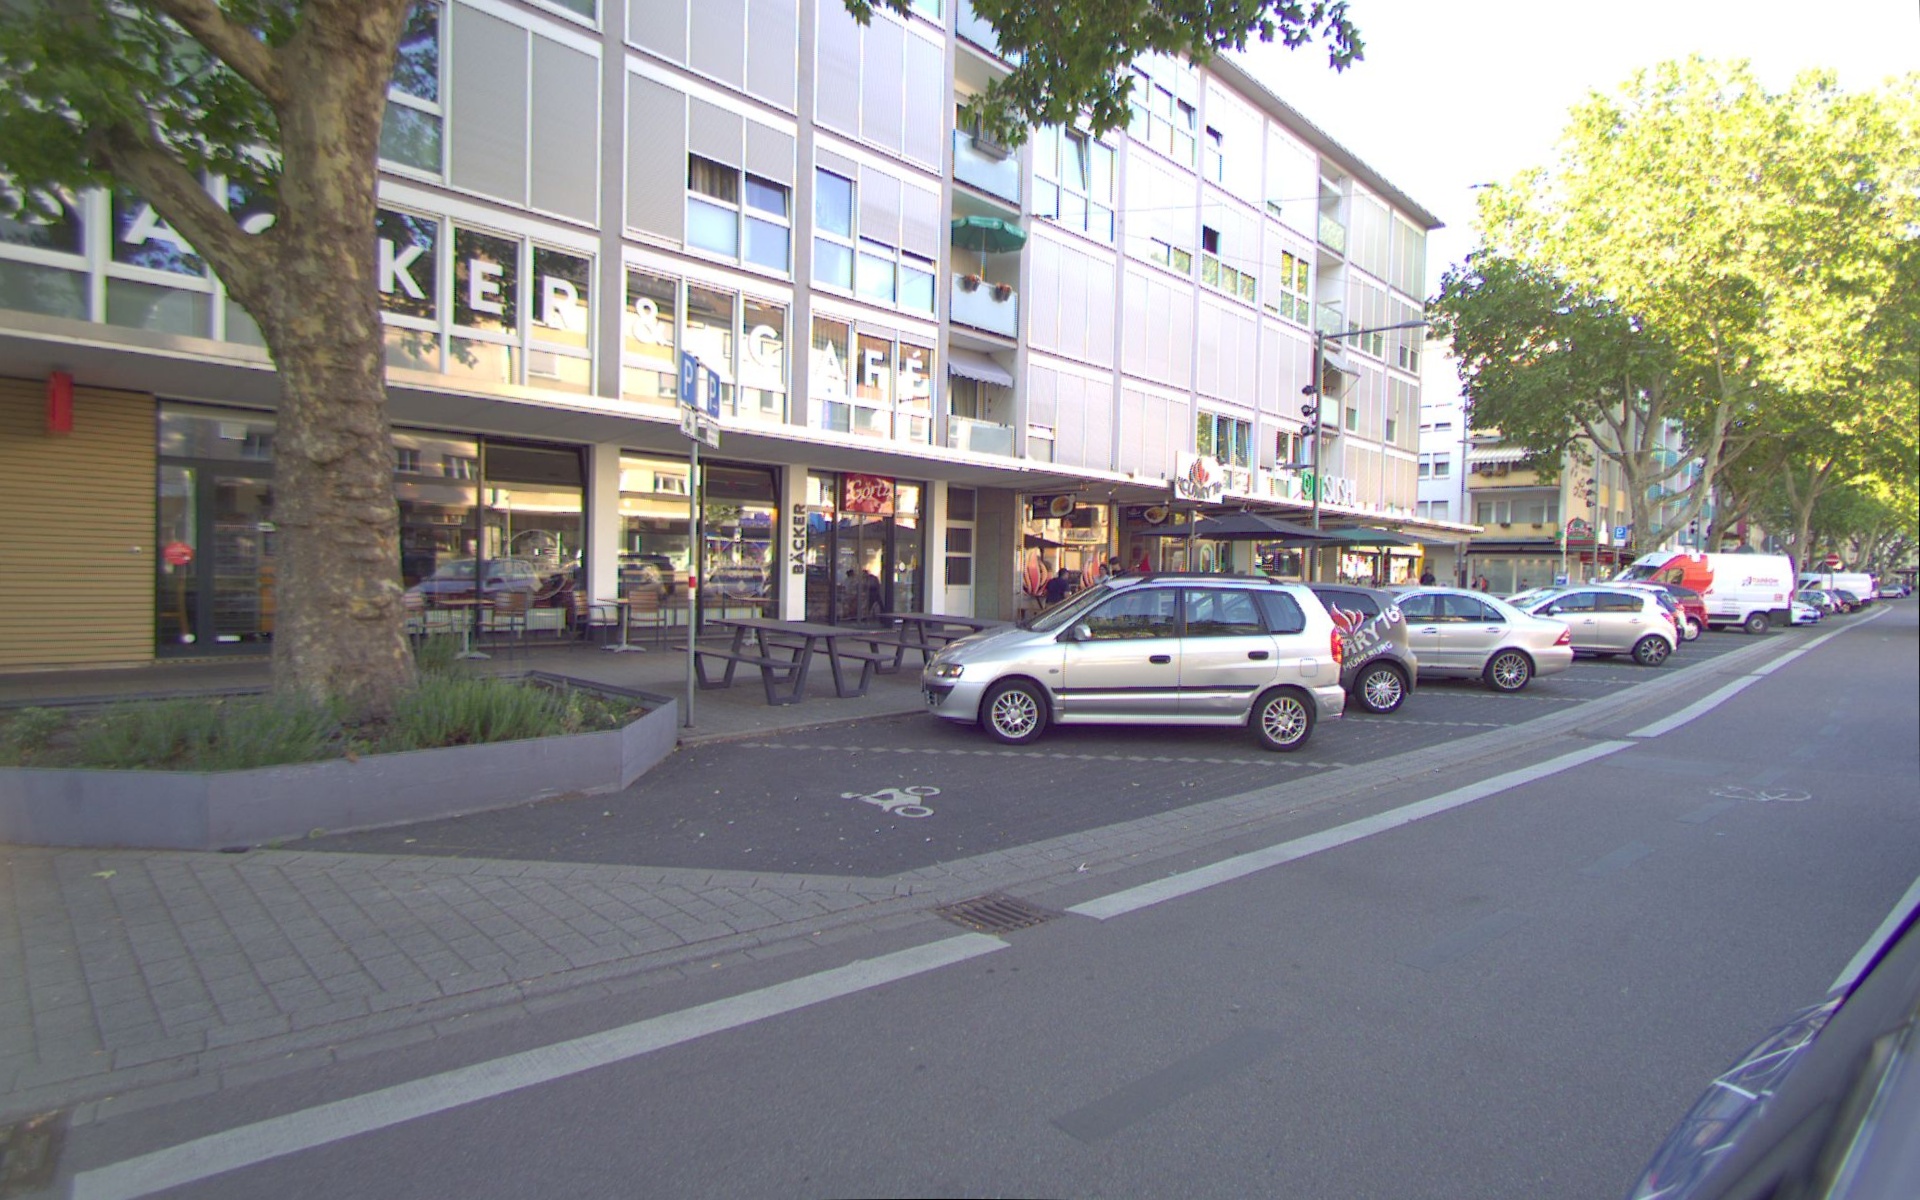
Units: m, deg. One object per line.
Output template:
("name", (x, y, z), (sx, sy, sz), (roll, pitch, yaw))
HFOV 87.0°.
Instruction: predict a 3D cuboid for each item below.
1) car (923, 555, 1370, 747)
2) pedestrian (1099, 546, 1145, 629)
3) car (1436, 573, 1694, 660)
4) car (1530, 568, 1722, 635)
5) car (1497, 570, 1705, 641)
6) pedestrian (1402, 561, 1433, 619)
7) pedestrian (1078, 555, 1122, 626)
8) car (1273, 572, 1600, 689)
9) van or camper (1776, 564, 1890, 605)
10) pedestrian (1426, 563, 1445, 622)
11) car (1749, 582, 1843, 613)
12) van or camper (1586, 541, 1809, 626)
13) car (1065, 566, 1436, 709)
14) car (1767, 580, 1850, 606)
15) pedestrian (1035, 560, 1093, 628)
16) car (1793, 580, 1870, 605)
("car", (1.637, 0.428, 9.892), (3.921, 1.626, 1.811), (1, 2, -3))
("pedestrian", (3.262, -0.254, 20.382), (0.537, 1.610, 0.676), (5, 4, 44))
("car", (11.746, 0.280, 19.867), (3.929, 1.453, 1.659), (2, 3, 5))
("car", (17.897, 0.009, 27.349), (3.929, 1.582, 1.659), (2, 3, 5))
("car", (15.752, 0.105, 25.025), (3.929, 1.541, 1.659), (2, 3, 5))
("pedestrian", (13.115, -0.294, 28.995), (0.537, 1.610, 0.676), (5, 4, 44))
("pedestrian", (2.874, -0.203, 20.813), (0.537, 1.417, 0.676), (5, 4, 44))
("car", (6.825, 0.399, 14.818), (3.926, 1.453, 1.660), (2, 3, 2))
("van or camper", (56.121, -1.045, 65.152), (5.363, 2.499, 1.999), (1, 2, 3))
("pedestrian", (16.612, -0.252, 35.333), (0.547, 2.039, 0.571), (0, 0, 31))
("car", (41.878, -0.157, 50.743), (3.271, 1.363, 1.530), (2, 3, 5))
("van or camper", (23.328, -0.551, 32.200), (5.366, 2.499, 1.998), (1, 2, 5))
("car", (3.393, 0.404, 12.349), (3.921, 1.525, 1.811), (1, 2, -3))
("car", (48.455, -0.410, 57.858), (3.271, 1.363, 1.530), (2, 3, 5))
("pedestrian", (2.201, -0.137, 21.434), (0.945, 1.379, 0.750), (0, 2, -41))
("car", (53.829, -0.483, 62.541), (3.271, 1.363, 1.530), (2, 3, 5))
